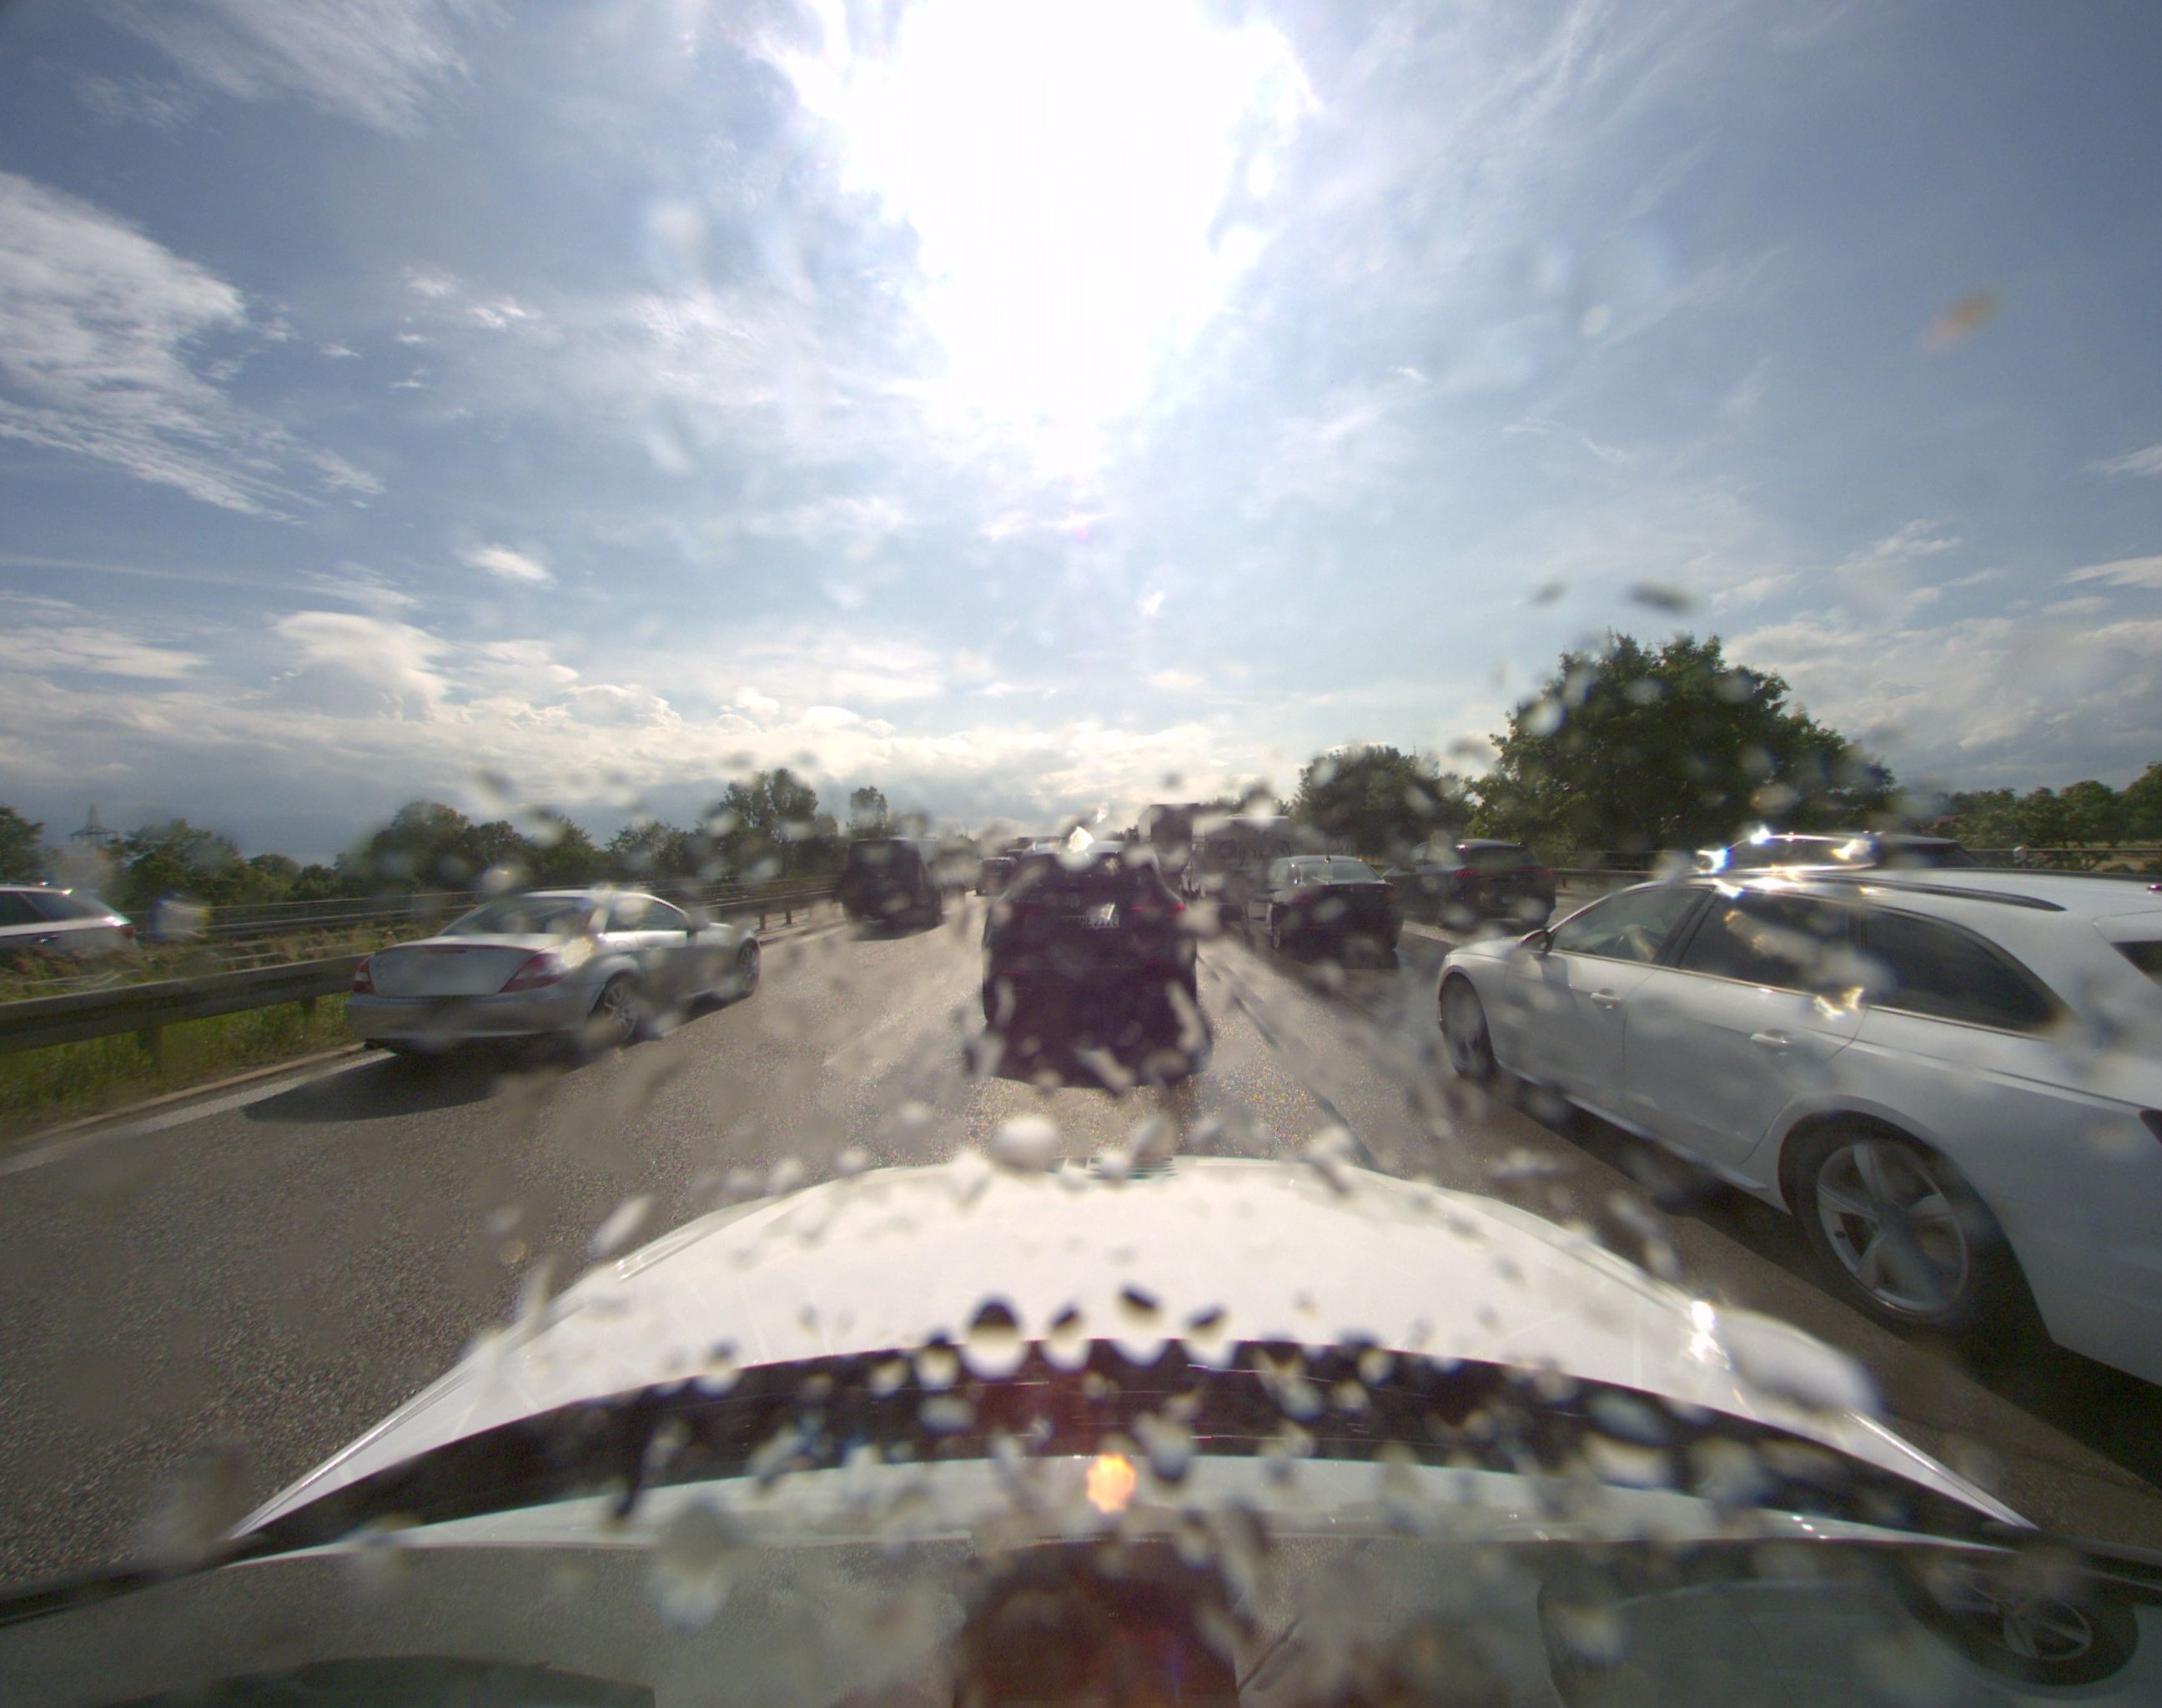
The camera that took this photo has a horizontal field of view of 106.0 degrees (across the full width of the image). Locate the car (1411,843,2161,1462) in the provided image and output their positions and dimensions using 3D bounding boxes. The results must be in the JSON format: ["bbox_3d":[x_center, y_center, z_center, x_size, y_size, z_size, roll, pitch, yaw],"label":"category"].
[{"bbox_3d":[3.390,0.721,3.846,1.821,1.425,4.509,0,-1,-1],"label":"car"}]

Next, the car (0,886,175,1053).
[{"bbox_3d":[-11.635,1.177,7.521,1.986,1.585,4.001,-1,0,2],"label":"car"}]

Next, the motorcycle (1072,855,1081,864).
[{"bbox_3d":[-0.649,0.815,118.841,1.069,1.271,2.691,-1,0,2],"label":"motorcycle"}]

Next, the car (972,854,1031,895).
[{"bbox_3d":[-3.179,0.797,33.310,1.750,1.516,4.212,-1,0,3],"label":"car"}]

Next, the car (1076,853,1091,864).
[{"bbox_3d":[0.411,0.697,127.471,1.985,1.616,4.003,2,0,3],"label":"car"}]

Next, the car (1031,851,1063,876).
[{"bbox_3d":[-2.429,0.667,59.727,1.985,1.772,4.003,-1,0,3],"label":"car"}]

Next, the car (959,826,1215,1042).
[{"bbox_3d":[0.120,0.642,8.639,1.986,1.661,4.407,-1,0,2],"label":"car"}]

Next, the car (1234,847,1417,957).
[{"bbox_3d":[3.793,0.673,13.428,1.841,1.464,4.258,-2,0,2],"label":"car"}]

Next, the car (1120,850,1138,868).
[{"bbox_3d":[5.332,0.542,91.165,1.985,2.013,4.003,0,0,3],"label":"car"}]

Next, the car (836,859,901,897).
[{"bbox_3d":[-10.496,1.177,40.595,1.986,1.730,4.207,-2,-1,1],"label":"car"}]

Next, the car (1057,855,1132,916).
[{"bbox_3d":[0.420,0.759,21.335,1.750,1.387,3.948,-1,0,3],"label":"car"}]

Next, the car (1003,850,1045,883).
[{"bbox_3d":[-3.093,0.682,44.725,1.987,1.720,4.000,-1,0,0],"label":"car"}]

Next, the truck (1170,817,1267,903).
[{"bbox_3d":[4.344,0.188,26.730,2.365,2.477,5.758,-1,0,2],"label":"truck"}]

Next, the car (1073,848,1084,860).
[{"bbox_3d":[-0.511,-0.013,154.988,1.987,2.013,3.999,2,0,0],"label":"car"}]

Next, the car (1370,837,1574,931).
[{"bbox_3d":[7.633,0.524,16.502,1.986,1.581,4.655,-1,0,2],"label":"car"}]

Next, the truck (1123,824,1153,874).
[{"bbox_3d":[5.669,-0.459,81.882,2.493,4.829,7.544,-1,0,1],"label":"truck"}]

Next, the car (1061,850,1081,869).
[{"bbox_3d":[-1.057,0.591,88.730,1.985,2.013,4.003,1,0,3],"label":"car"}]

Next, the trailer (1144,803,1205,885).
[{"bbox_3d":[5.093,-0.504,45.908,2.993,4.166,8.545,-1,0,4],"label":"trailer"}]

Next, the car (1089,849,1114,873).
[{"bbox_3d":[1.807,0.576,70.757,1.985,2.013,4.003,-1,0,3],"label":"car"}]

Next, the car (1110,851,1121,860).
[{"bbox_3d":[6.604,0.297,156.671,1.870,1.760,3.998,-1,0,-1],"label":"car"}]

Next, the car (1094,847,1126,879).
[{"bbox_3d":[1.977,0.589,54.533,1.985,2.013,4.003,2,0,3],"label":"car"}]

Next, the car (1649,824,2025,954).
[{"bbox_3d":[10.852,0.445,12.222,1.742,1.586,4.288,-1,0,2],"label":"car"}]

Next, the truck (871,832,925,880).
[{"bbox_3d":[-17.264,0.196,77.381,2.994,4.103,7.689,-3,0,2],"label":"truck"}]

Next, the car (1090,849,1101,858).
[{"bbox_3d":[2.774,-0.082,153.841,1.870,1.760,3.998,-1,0,-1],"label":"car"}]

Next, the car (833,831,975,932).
[{"bbox_3d":[-3.967,0.566,19.286,1.986,2.013,5.271,-1,0,2],"label":"car"}]

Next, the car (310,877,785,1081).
[{"bbox_3d":[-4.483,0.933,7.743,1.718,1.278,4.065,-1,0,2],"label":"car"}]

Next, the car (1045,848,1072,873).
[{"bbox_3d":[-1.898,0.530,69.984,1.985,2.013,4.003,2,0,3],"label":"car"}]

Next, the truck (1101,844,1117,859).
[{"bbox_3d":[7.789,-0.631,227.451,3.833,4.017,11.212,-1,0,-2],"label":"truck"}]

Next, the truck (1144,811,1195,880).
[{"bbox_3d":[5.509,-0.504,51.638,2.982,4.166,5.246,-1,0,4],"label":"truck"}]

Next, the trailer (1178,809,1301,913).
[{"bbox_3d":[4.205,0.178,22.855,2.365,2.483,6.525,-1,0,2],"label":"trailer"}]

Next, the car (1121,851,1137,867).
[{"bbox_3d":[6.416,0.602,108.648,1.985,2.013,4.003,2,0,3],"label":"car"}]

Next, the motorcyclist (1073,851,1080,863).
[{"bbox_3d":[-0.649,0.385,118.980,1.059,1.718,0.785,-1,-1,2],"label":"motorcyclist"}]
